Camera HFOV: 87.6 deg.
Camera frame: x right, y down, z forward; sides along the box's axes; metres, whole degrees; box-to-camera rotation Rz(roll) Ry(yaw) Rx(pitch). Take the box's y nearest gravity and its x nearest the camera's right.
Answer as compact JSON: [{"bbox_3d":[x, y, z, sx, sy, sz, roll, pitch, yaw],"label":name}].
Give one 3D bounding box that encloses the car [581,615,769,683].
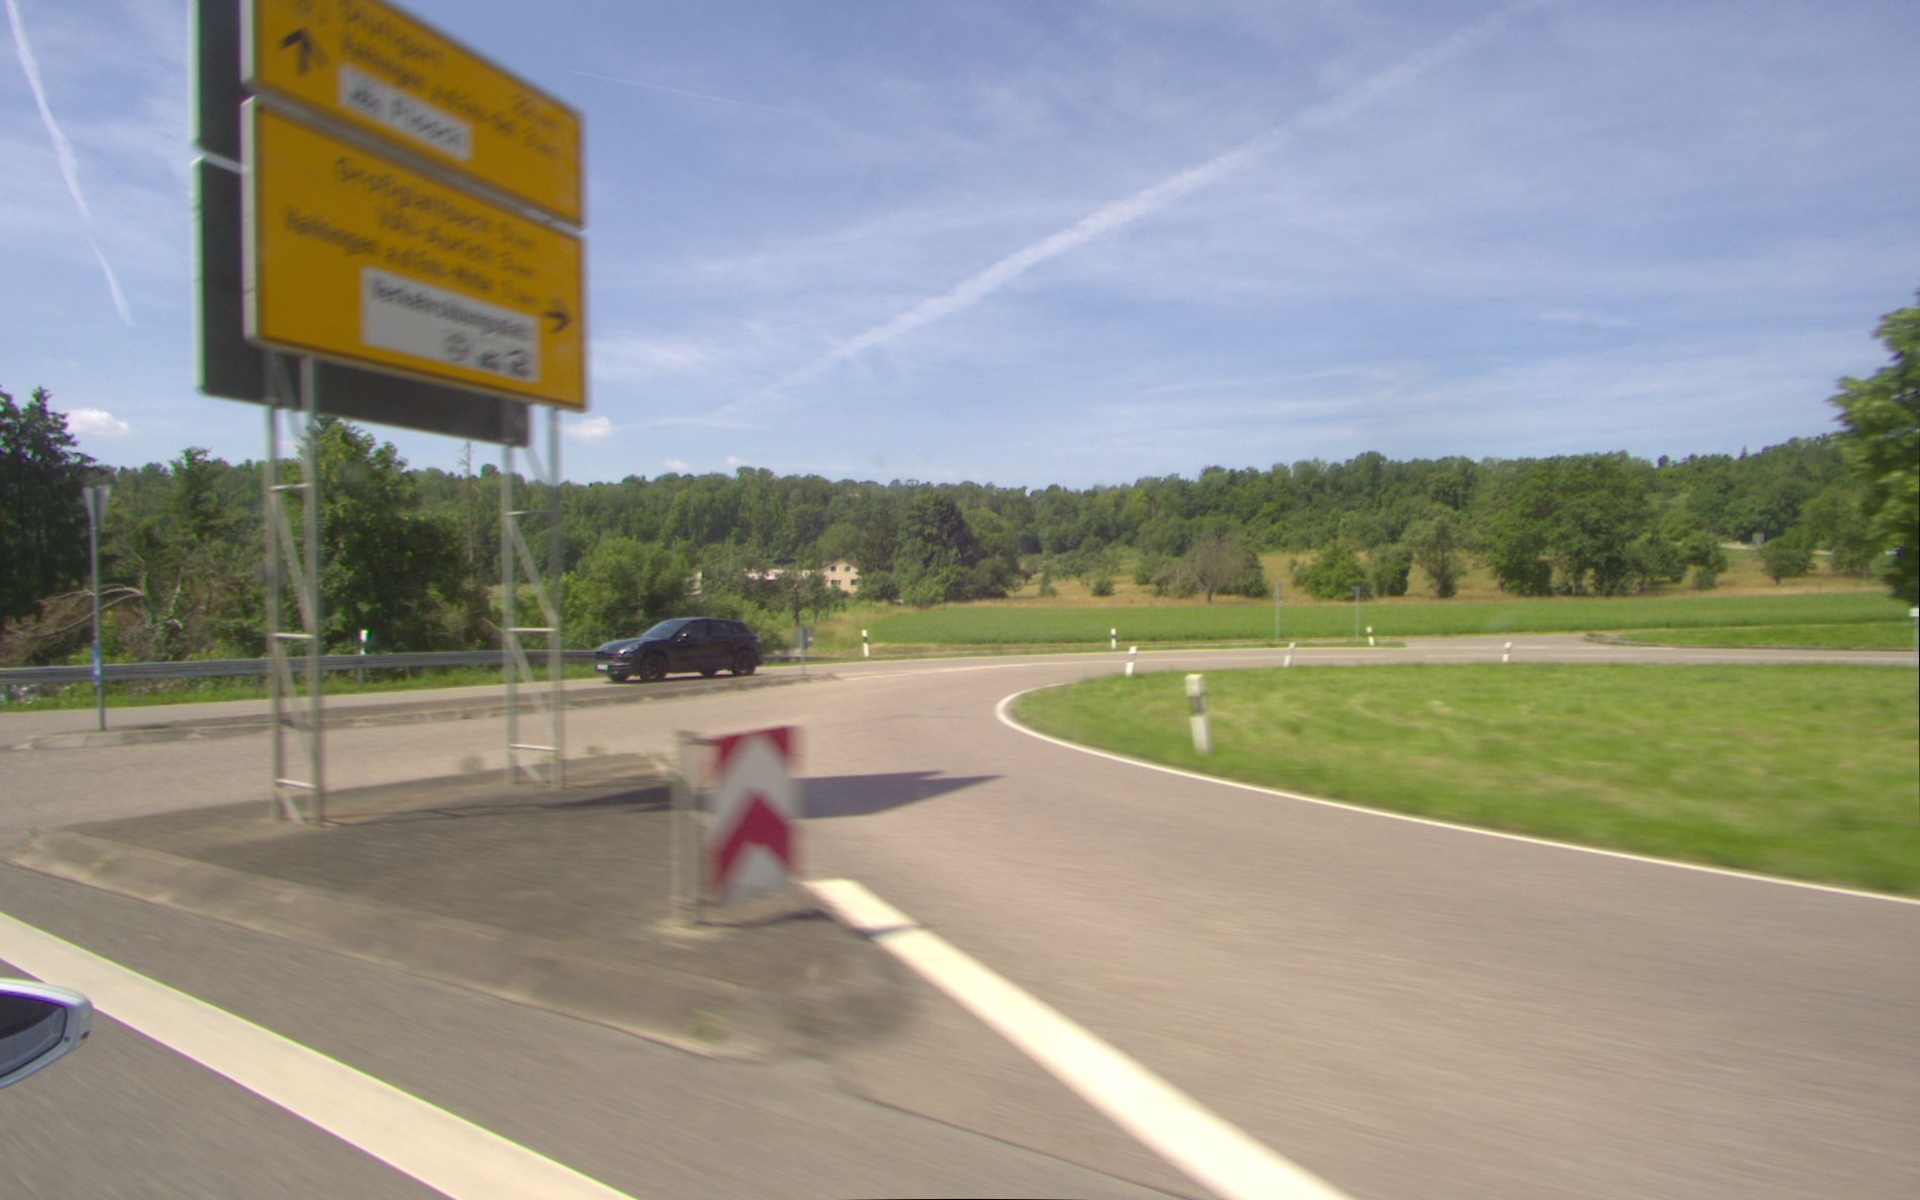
[{"bbox_3d":[-7.444,1.224,26.472,2.041,1.610,4.393,-1,-1,41],"label":"car"}]
